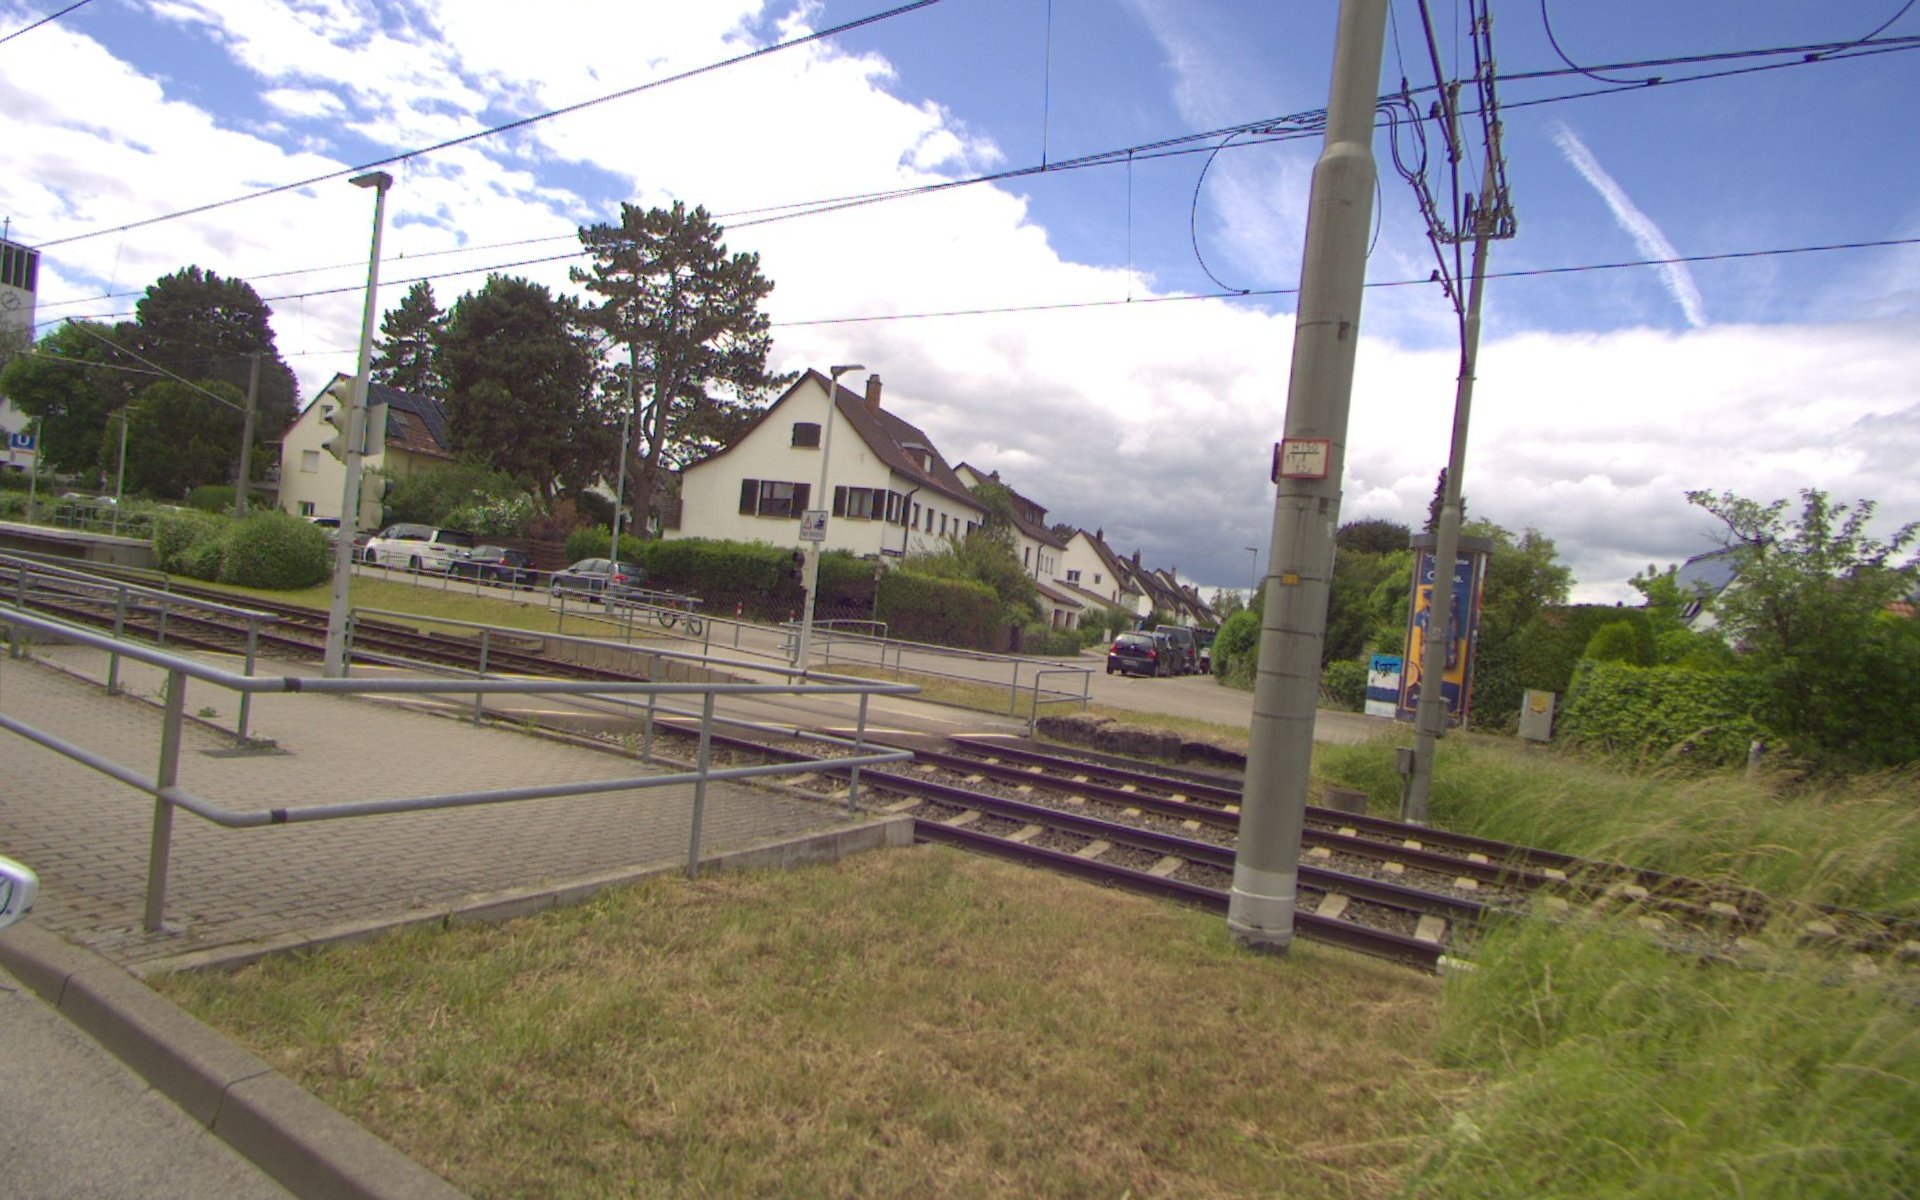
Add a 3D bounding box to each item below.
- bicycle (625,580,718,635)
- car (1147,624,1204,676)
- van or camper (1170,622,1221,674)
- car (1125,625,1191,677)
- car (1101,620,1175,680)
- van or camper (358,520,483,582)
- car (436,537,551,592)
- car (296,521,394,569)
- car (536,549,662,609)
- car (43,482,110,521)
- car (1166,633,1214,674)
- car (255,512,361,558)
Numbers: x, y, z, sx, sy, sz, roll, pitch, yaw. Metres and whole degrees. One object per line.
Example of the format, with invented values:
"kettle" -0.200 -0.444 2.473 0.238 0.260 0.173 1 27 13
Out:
"bicycle" -7.034 0.163 24.460 2.498 1.058 0.538 6 0 32
"car" 9.058 2.095 42.093 1.791 1.886 3.643 7 -1 18
"van or camper" 11.866 2.419 50.521 2.017 2.265 3.936 7 -1 17
"car" 7.469 1.923 37.689 1.791 1.643 3.974 7 -1 19
"car" 5.856 1.631 32.809 1.791 1.643 3.733 7 -1 17
"van or camper" -21.241 -1.937 39.544 4.962 1.848 1.908 6 0 30
"car" -17.270 -1.327 37.212 3.934 1.540 1.886 6 -1 32
"car" -26.109 -2.348 42.692 3.934 1.540 1.886 6 -1 32
"car" -12.258 -0.709 34.123 3.934 1.540 1.886 6 -1 32
"car" -50.564 -5.660 57.579 3.870 1.772 1.735 7 -1 32
"car" 10.713 2.478 46.679 1.791 1.643 3.644 7 -1 17
"car" -34.226 -3.384 52.920 1.715 1.969 4.334 7 2 25
